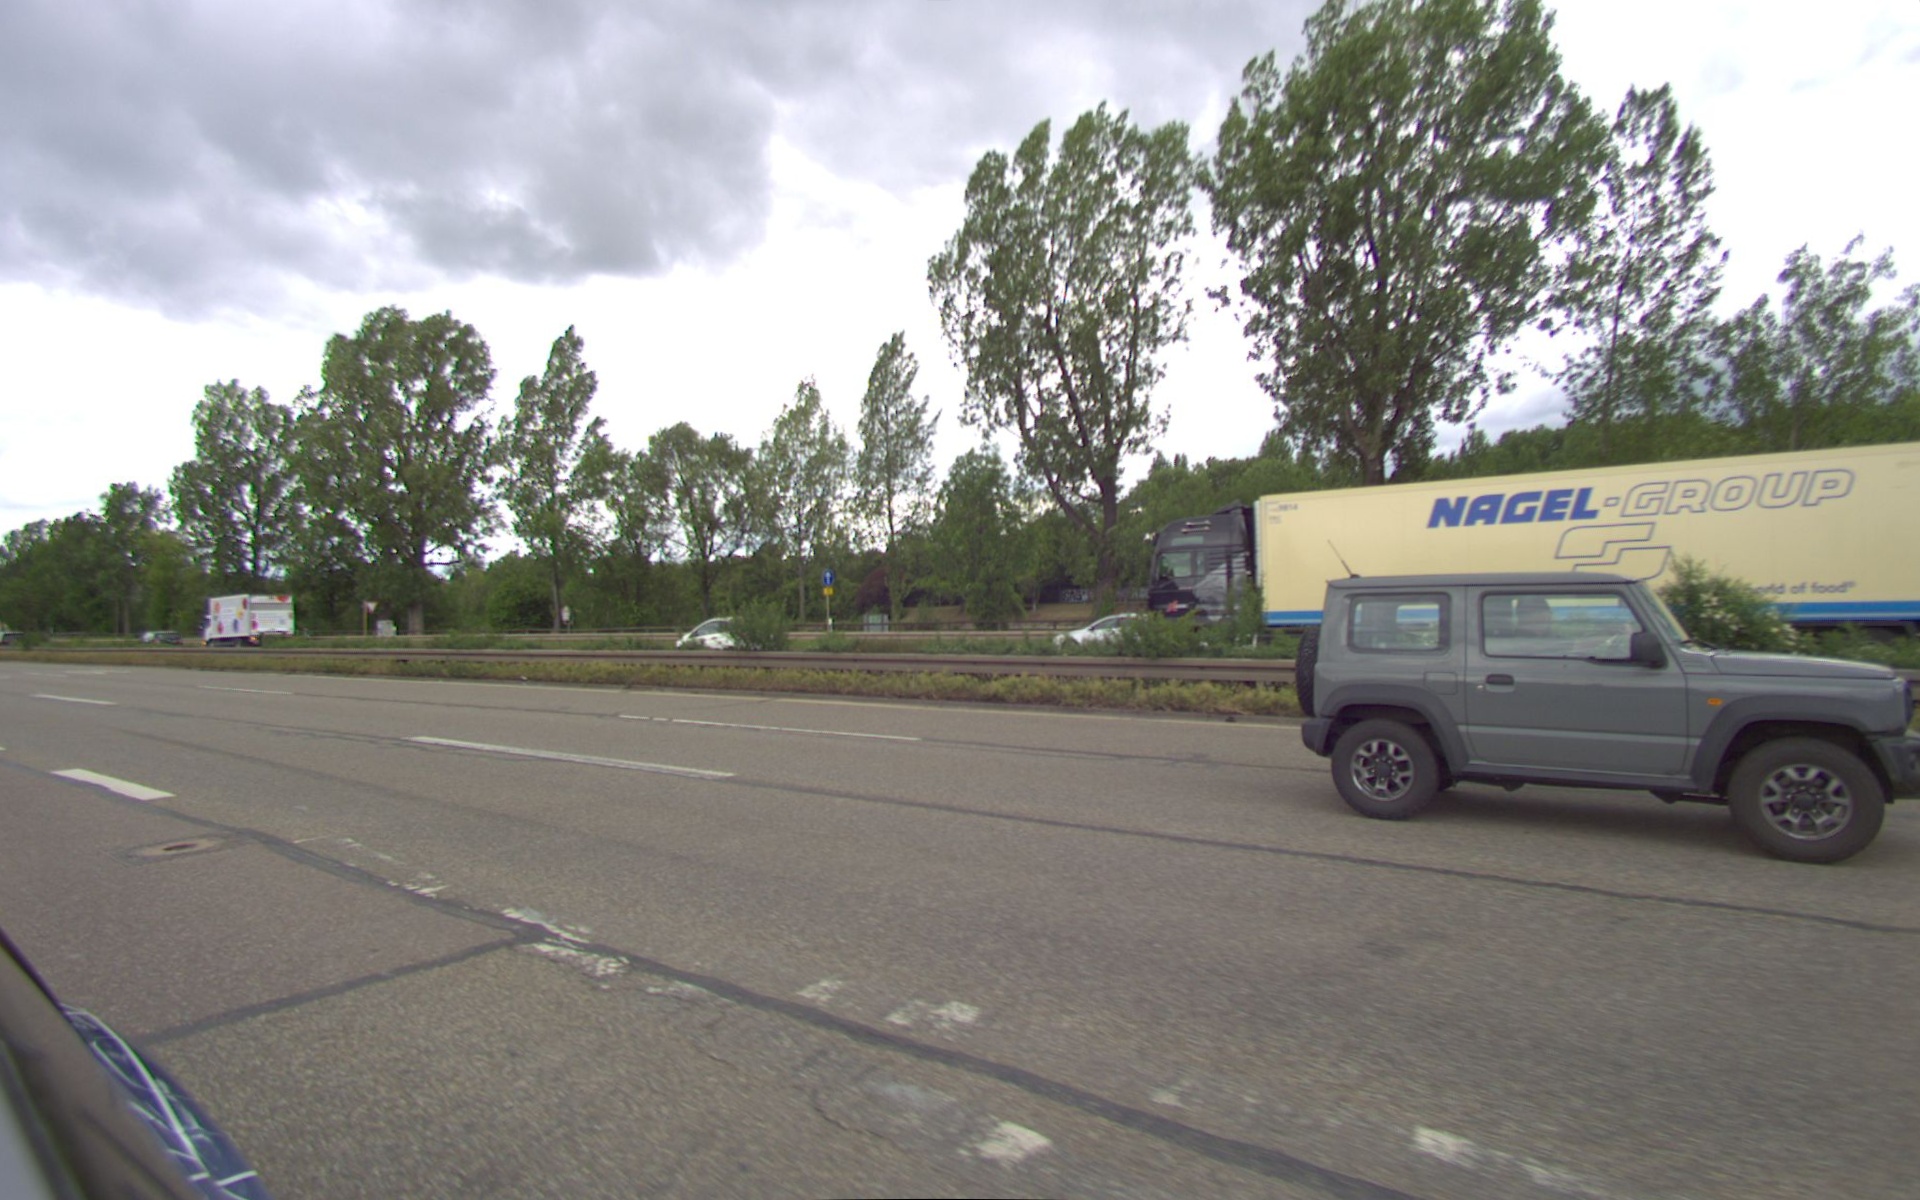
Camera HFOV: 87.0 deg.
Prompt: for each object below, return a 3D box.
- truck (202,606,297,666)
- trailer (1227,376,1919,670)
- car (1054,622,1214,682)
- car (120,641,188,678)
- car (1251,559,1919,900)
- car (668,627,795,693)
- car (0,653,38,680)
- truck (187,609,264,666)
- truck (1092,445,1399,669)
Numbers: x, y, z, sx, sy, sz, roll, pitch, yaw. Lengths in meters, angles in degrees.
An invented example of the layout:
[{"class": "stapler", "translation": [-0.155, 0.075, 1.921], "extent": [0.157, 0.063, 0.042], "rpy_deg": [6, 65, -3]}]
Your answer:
[{"class": "truck", "translation": [-47.907, 2.418, 68.206], "extent": [6.317, 3.671, 2.960], "rpy_deg": [-3, 0, 33]}, {"class": "trailer", "translation": [13.091, -1.104, 19.925], "extent": [14.747, 4.708, 3.434], "rpy_deg": [-3, -1, 35]}, {"class": "car", "translation": [5.547, 1.681, 32.450], "extent": [4.590, 1.656, 1.978], "rpy_deg": [-3, 0, 33]}, {"class": "car", "translation": [-48.671, 3.607, 61.093], "extent": [3.988, 2.028, 1.978], "rpy_deg": [-3, 0, 33]}, {"class": "car", "translation": [4.212, 0.740, 6.764], "extent": [3.990, 1.749, 1.666], "rpy_deg": [-3, -3, 36]}, {"class": "car", "translation": [-6.822, 1.780, 30.102], "extent": [3.565, 1.821, 1.763], "rpy_deg": [-3, -2, 36]}, {"class": "car", "translation": [-68.044, 4.784, 72.438], "extent": [5.513, 1.743, 1.830], "rpy_deg": [-3, 0, 35]}, {"class": "truck", "translation": [-50.900, 2.575, 70.145], "extent": [3.987, 3.670, 2.962], "rpy_deg": [-3, 0, 33]}, {"class": "truck", "translation": [6.821, -0.811, 24.366], "extent": [6.197, 4.708, 3.434], "rpy_deg": [-3, -1, 35]}]
